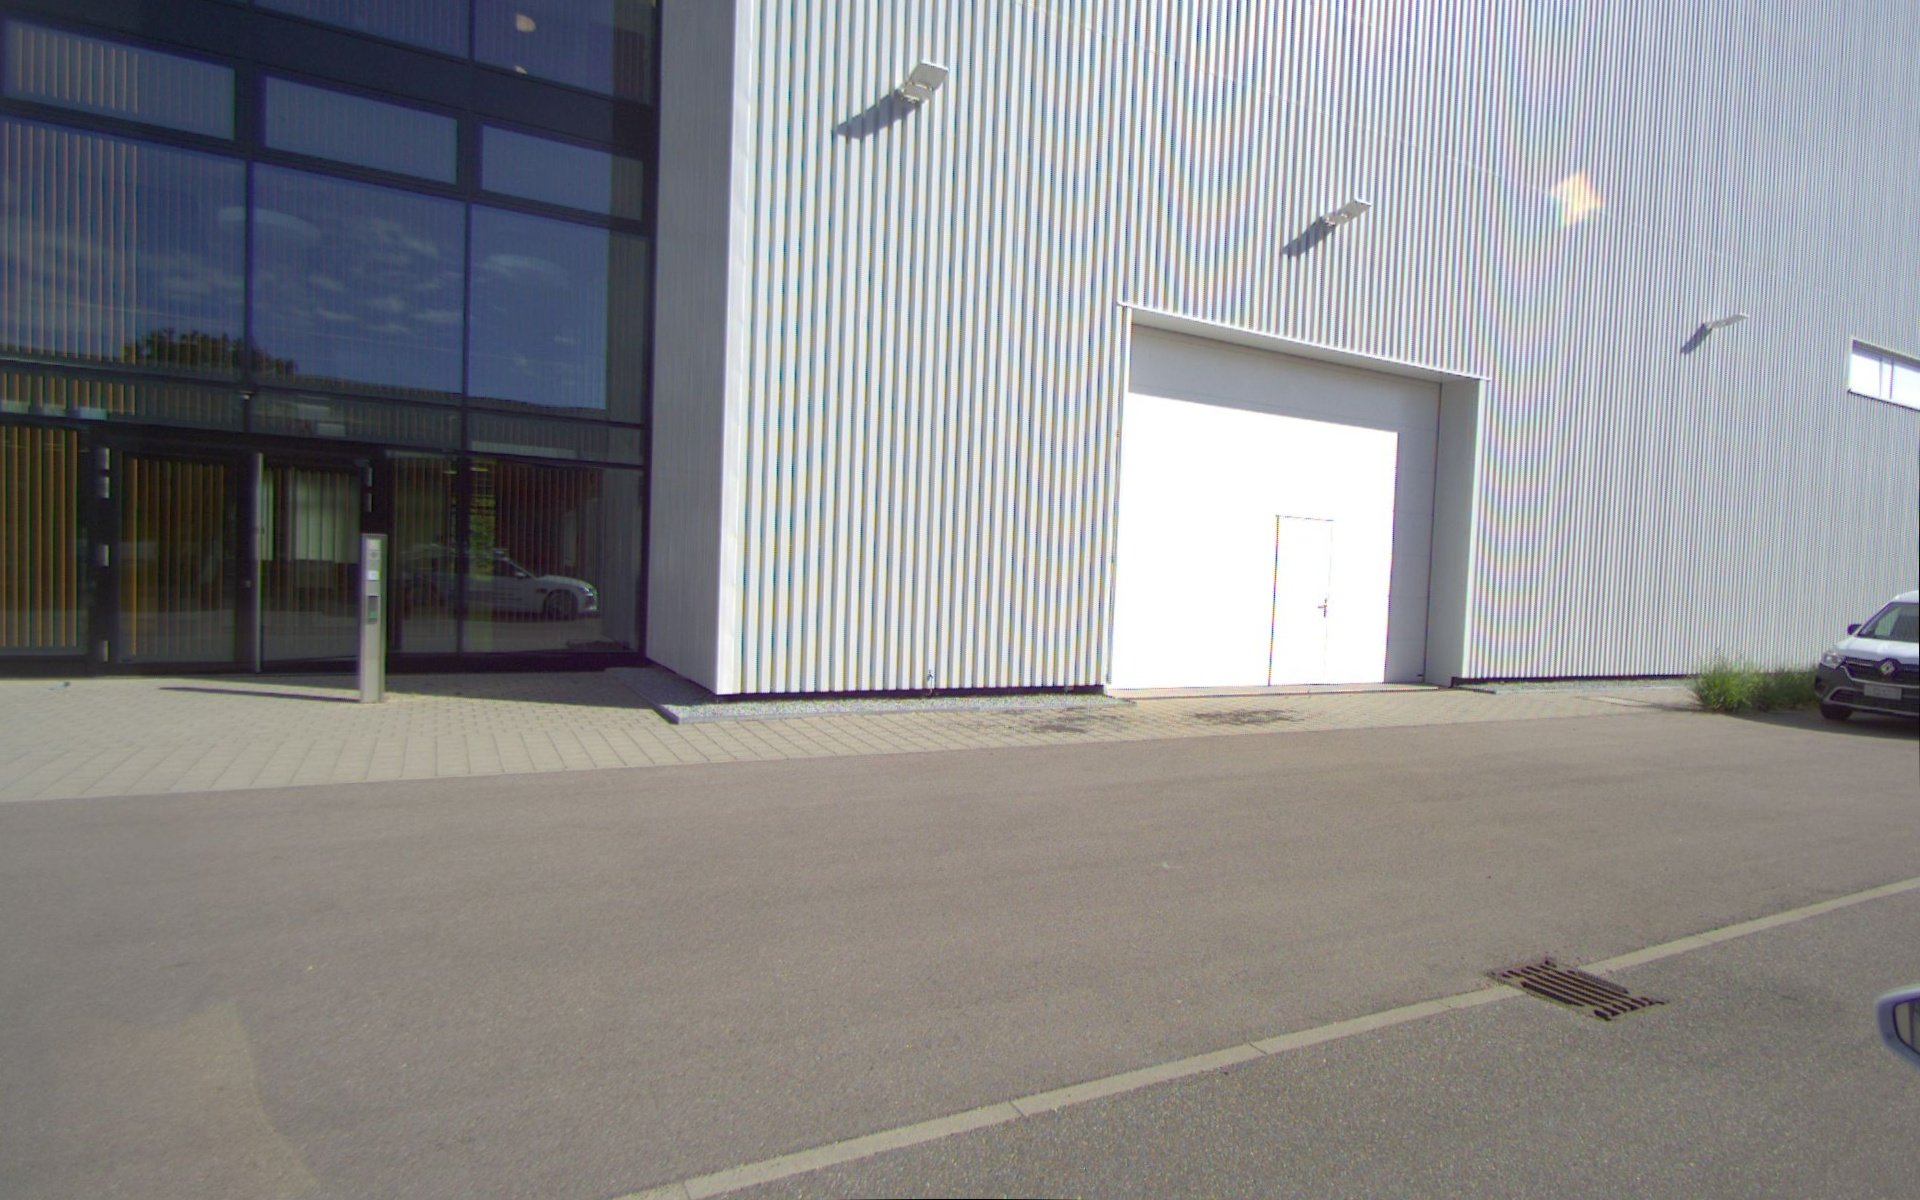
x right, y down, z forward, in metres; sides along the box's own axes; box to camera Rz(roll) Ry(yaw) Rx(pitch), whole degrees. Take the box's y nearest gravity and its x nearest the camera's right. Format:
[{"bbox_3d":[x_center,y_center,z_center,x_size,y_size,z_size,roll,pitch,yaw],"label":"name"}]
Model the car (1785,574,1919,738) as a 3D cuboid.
[{"bbox_3d":[13.073,0.709,13.200,4.305,1.870,1.882,1,4,-29],"label":"car"}]
